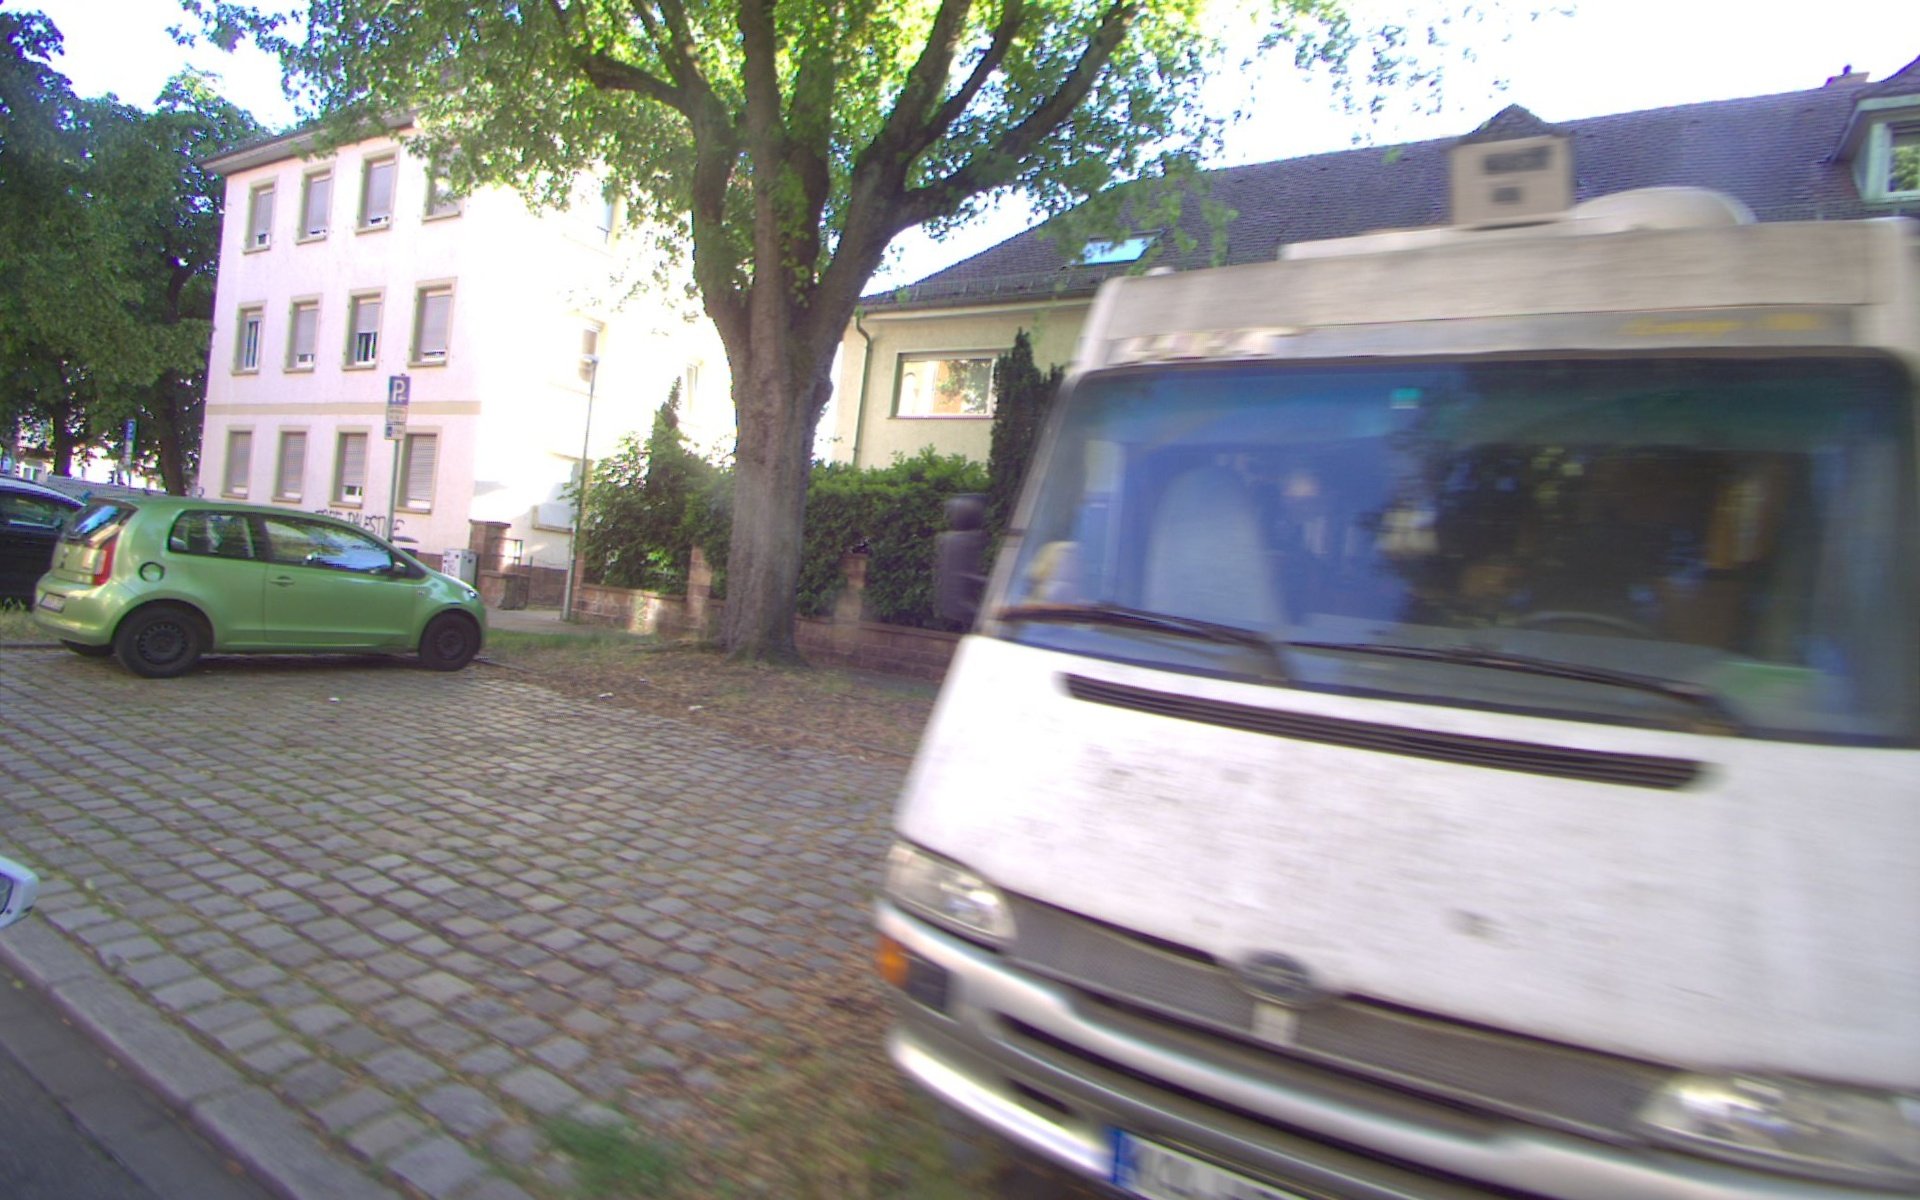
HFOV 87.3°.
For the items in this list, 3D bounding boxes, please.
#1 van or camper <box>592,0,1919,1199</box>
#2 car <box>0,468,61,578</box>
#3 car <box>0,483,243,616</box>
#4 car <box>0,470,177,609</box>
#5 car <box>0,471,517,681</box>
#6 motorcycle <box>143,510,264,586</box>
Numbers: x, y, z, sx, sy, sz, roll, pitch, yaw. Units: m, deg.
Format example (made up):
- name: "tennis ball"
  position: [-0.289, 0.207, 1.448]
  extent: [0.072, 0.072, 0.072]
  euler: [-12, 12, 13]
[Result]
- name: "van or camper"
  position: [2.159, 0.137, 4.501]
  extent: [2.423, 3.115, 7.088]
  euler: [6, 0, 29]
- name: "car"
  position: [-17.087, -1.440, 15.658]
  extent: [1.989, 1.735, 4.112]
  euler: [7, 1, 27]
- name: "car"
  position: [-11.088, -0.632, 11.684]
  extent: [1.763, 1.430, 4.104]
  euler: [6, 2, 32]
- name: "car"
  position: [-13.123, -0.914, 13.517]
  extent: [1.677, 1.671, 3.694]
  euler: [6, 0, 35]
- name: "car"
  position: [-6.370, -0.152, 9.512]
  extent: [1.650, 1.525, 3.590]
  euler: [7, 2, 32]
- name: "motorcycle"
  position: [-15.536, -1.073, 20.649]
  extent: [2.143, 1.296, 0.977]
  euler: [7, 1, 24]
